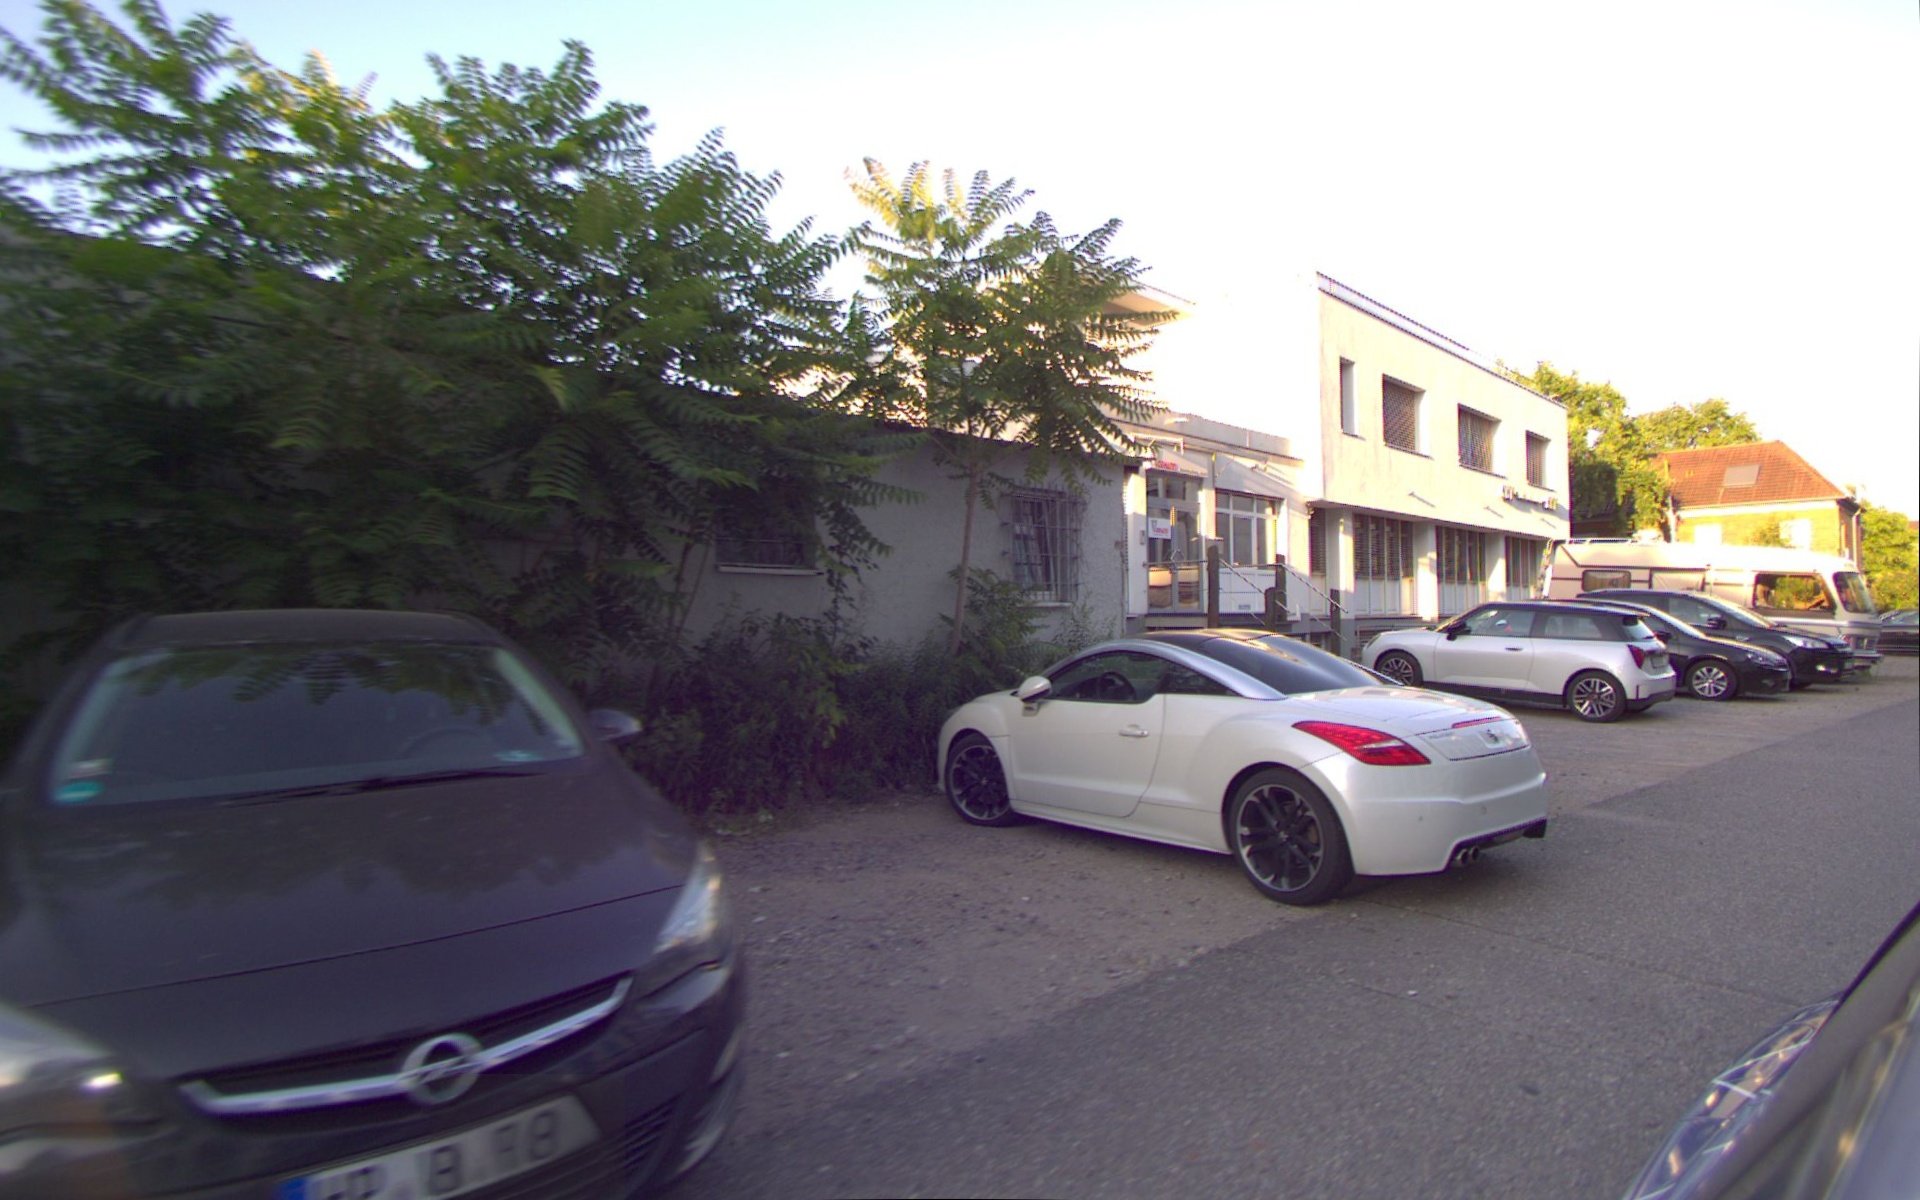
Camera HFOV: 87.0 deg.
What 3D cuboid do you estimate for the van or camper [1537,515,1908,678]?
[{"bbox_3d":[15.604,-0.085,21.043,2.444,2.900,5.790,0,0,-41],"label":"van or camper"}]

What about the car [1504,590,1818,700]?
[{"bbox_3d":[11.410,0.641,16.667,1.683,1.583,4.007,0,0,-43],"label":"car"}]

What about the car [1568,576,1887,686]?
[{"bbox_3d":[13.770,0.477,18.413,1.930,1.763,4.254,0,0,-35],"label":"car"}]

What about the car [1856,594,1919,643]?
[{"bbox_3d":[29.062,0.563,29.640,1.863,1.425,4.061,1,0,-42],"label":"car"}]

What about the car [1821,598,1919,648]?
[{"bbox_3d":[27.069,0.628,28.319,1.864,1.350,4.321,-1,0,-42],"label":"car"}]

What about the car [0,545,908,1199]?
[{"bbox_3d":[-2.170,0.736,3.565,1.856,1.522,4.211,-1,-1,-38],"label":"car"}]

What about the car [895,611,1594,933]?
[{"bbox_3d":[1.461,0.826,6.666,1.789,1.385,4.213,0,-2,-36],"label":"car"}]

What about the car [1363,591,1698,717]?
[{"bbox_3d":[7.752,0.639,14.007,1.682,1.498,3.710,0,0,-41],"label":"car"}]
